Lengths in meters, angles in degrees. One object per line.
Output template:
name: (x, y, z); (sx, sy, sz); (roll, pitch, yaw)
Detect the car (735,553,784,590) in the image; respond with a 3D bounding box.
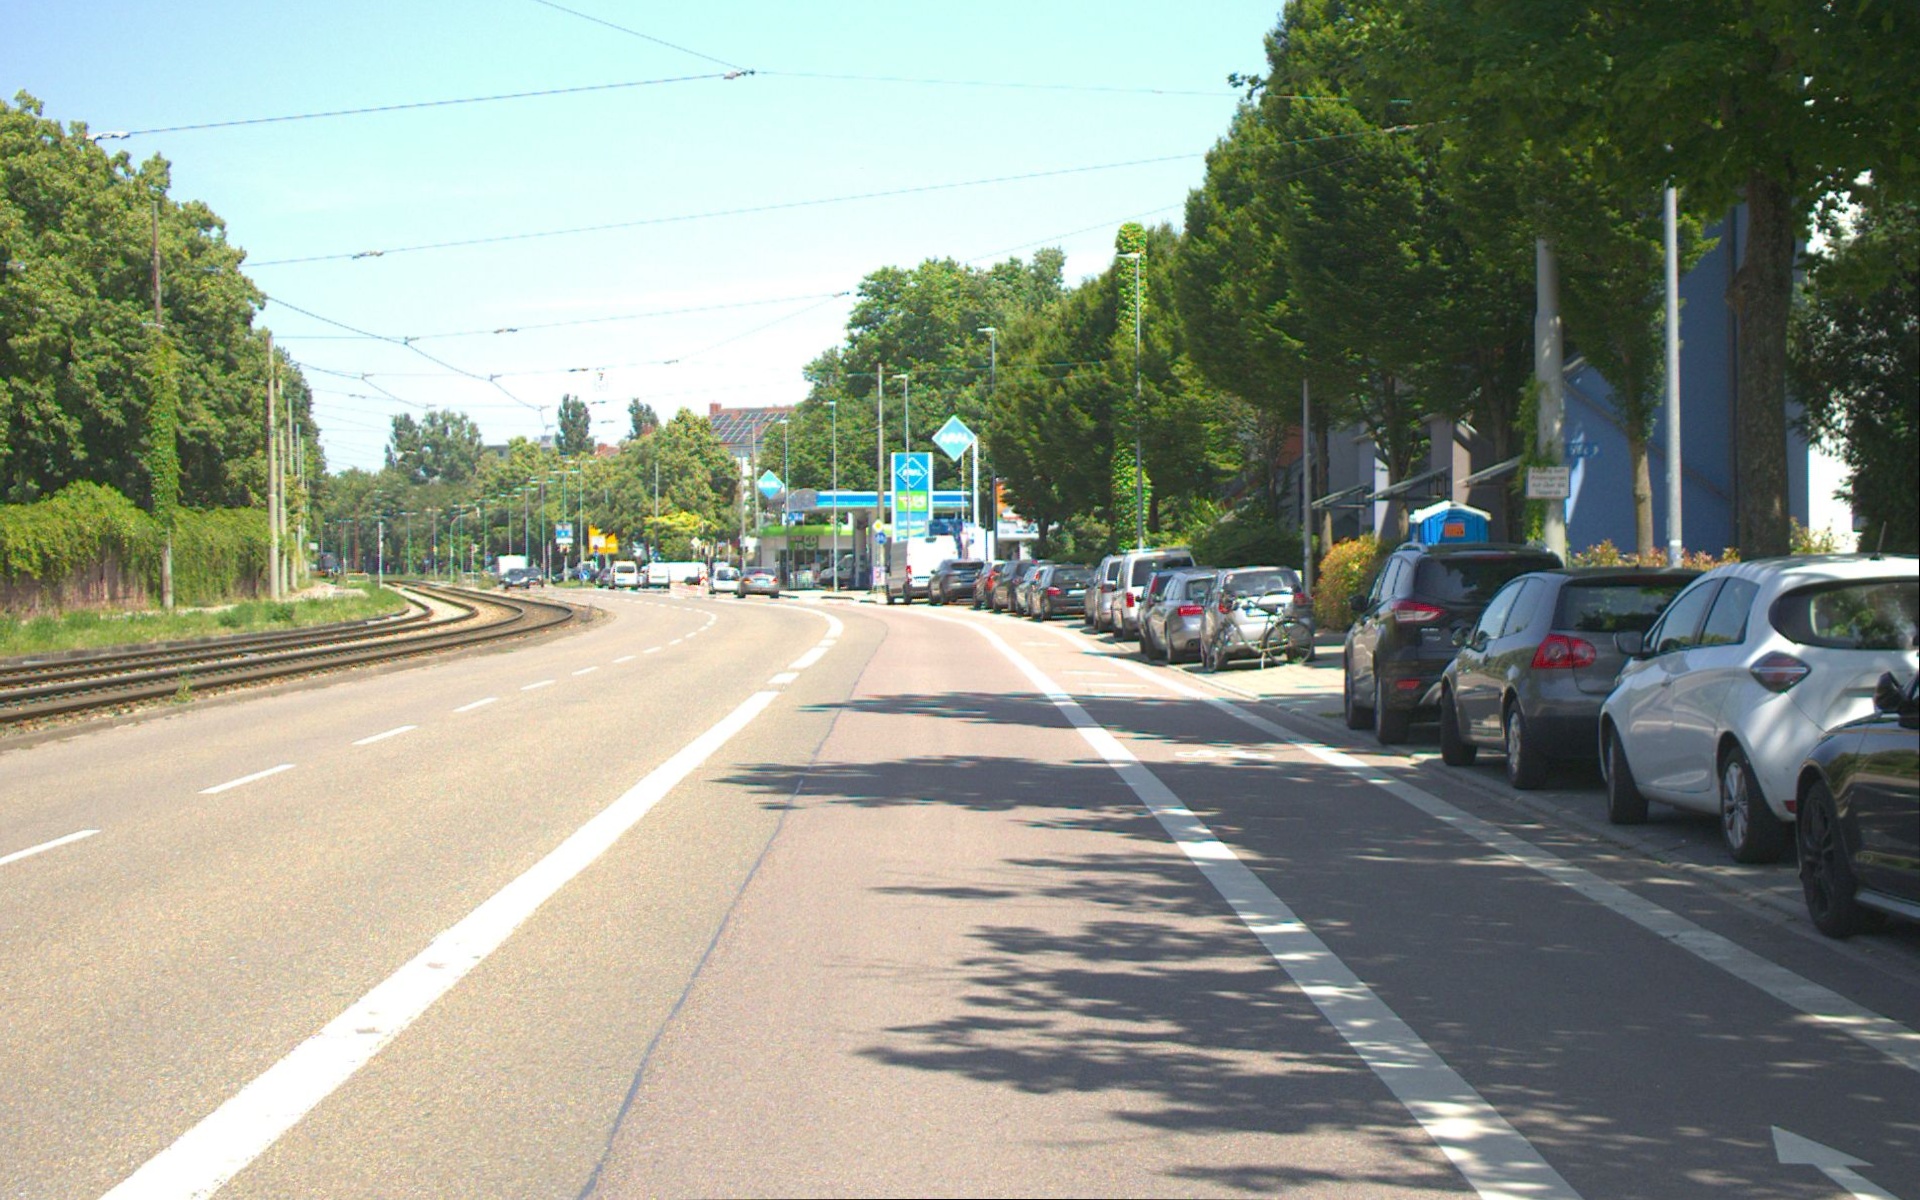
car: (-9.266, -1.340, 158.891); (1.755, 1.625, 4.325); (-3, 1, -9)

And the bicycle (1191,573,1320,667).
bicycle: (4.297, 0.286, 50.109); (1.774, 1.224, 0.683); (-5, 0, 4)

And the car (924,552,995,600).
car: (-0.035, -0.865, 122.238); (1.755, 1.625, 4.325); (-3, 1, -9)

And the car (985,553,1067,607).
car: (2.026, -0.631, 106.350); (1.706, 1.557, 4.325); (-3, 1, -10)

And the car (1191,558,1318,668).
car: (4.433, 0.170, 52.146); (1.519, 1.524, 3.817); (-2, 1, 0)

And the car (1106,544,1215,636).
car: (4.171, -0.232, 72.131); (1.840, 1.788, 4.354); (-2, 1, -2)

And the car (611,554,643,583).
car: (-22.228, -2.120, 229.089); (1.755, 1.868, 4.325); (-3, 1, -9)

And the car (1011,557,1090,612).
car: (2.635, -0.465, 101.157); (1.706, 1.487, 4.732); (-3, 1, -5)

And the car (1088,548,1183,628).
car: (3.969, -0.303, 78.315); (1.840, 1.688, 4.778); (-2, 1, 0)

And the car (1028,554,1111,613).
car: (3.001, -0.474, 95.170); (1.706, 1.487, 5.039); (-3, 1, -4)

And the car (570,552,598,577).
car: (-26.032, -2.441, 237.761); (1.755, 1.625, 4.325); (-3, 1, -8)

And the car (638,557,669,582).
car: (-21.549, -2.138, 241.349); (1.755, 1.625, 4.325); (-3, 1, -9)

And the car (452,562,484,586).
car: (-36.018, -1.899, 251.754); (1.755, 1.625, 4.325); (-3, 1, -15)

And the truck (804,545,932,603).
truck: (-5.814, -1.632, 216.759); (7.967, 3.590, 2.663); (0, 1, -3)

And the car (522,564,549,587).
car: (-31.745, -1.860, 256.861); (1.755, 1.625, 4.325); (-3, 1, -9)

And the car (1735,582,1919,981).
car: (4.481, 0.670, 12.865); (1.840, 1.431, 4.825); (-3, 1, -2)

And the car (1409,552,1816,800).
car: (4.541, 0.462, 24.591); (1.840, 1.524, 4.354); (-3, 1, -3)

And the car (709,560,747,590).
car: (-13.044, -1.414, 192.805); (1.755, 1.625, 4.325); (-3, 1, -8)

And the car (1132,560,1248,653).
car: (4.130, 0.092, 62.191); (1.841, 1.524, 4.216); (-2, 1, 1)

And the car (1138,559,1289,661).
car: (4.163, 0.131, 57.154); (1.840, 1.524, 4.966); (-3, 1, -3)

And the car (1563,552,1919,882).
car: (4.744, 0.542, 18.965); (1.840, 1.524, 4.206); (-3, 1, -3)

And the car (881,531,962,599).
car: (-1.503, -1.353, 132.350); (2.000, 2.448, 6.111); (-3, 1, -10)

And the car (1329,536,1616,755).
car: (4.408, 0.329, 30.226); (1.840, 1.700, 4.626); (-2, 1, 1)
